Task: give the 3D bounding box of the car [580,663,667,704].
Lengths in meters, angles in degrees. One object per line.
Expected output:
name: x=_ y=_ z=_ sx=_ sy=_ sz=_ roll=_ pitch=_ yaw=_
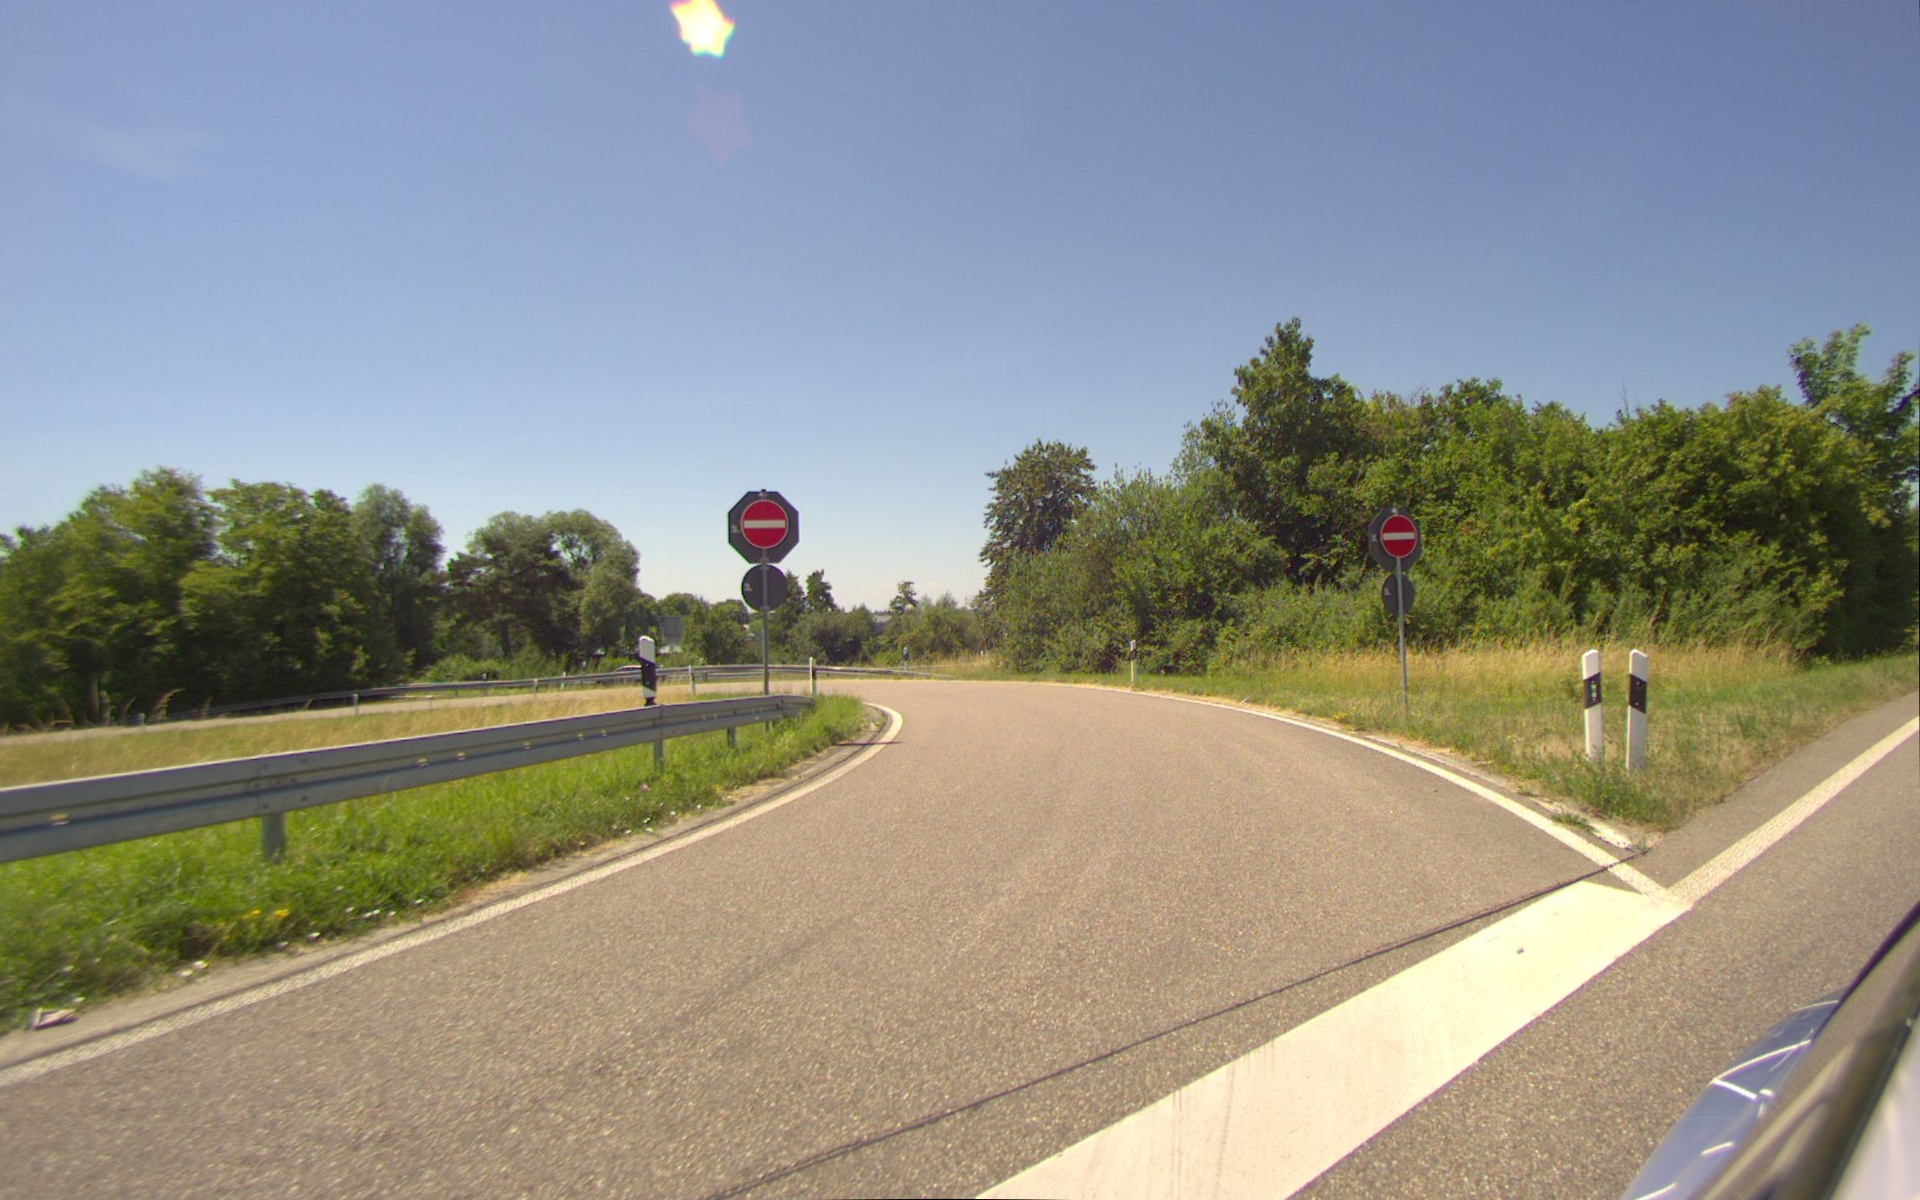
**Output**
car: x=-18.364 y=4.557 z=55.258 sx=4.070 sy=1.922 sz=1.916 roll=-4 pitch=-1 yaw=18
